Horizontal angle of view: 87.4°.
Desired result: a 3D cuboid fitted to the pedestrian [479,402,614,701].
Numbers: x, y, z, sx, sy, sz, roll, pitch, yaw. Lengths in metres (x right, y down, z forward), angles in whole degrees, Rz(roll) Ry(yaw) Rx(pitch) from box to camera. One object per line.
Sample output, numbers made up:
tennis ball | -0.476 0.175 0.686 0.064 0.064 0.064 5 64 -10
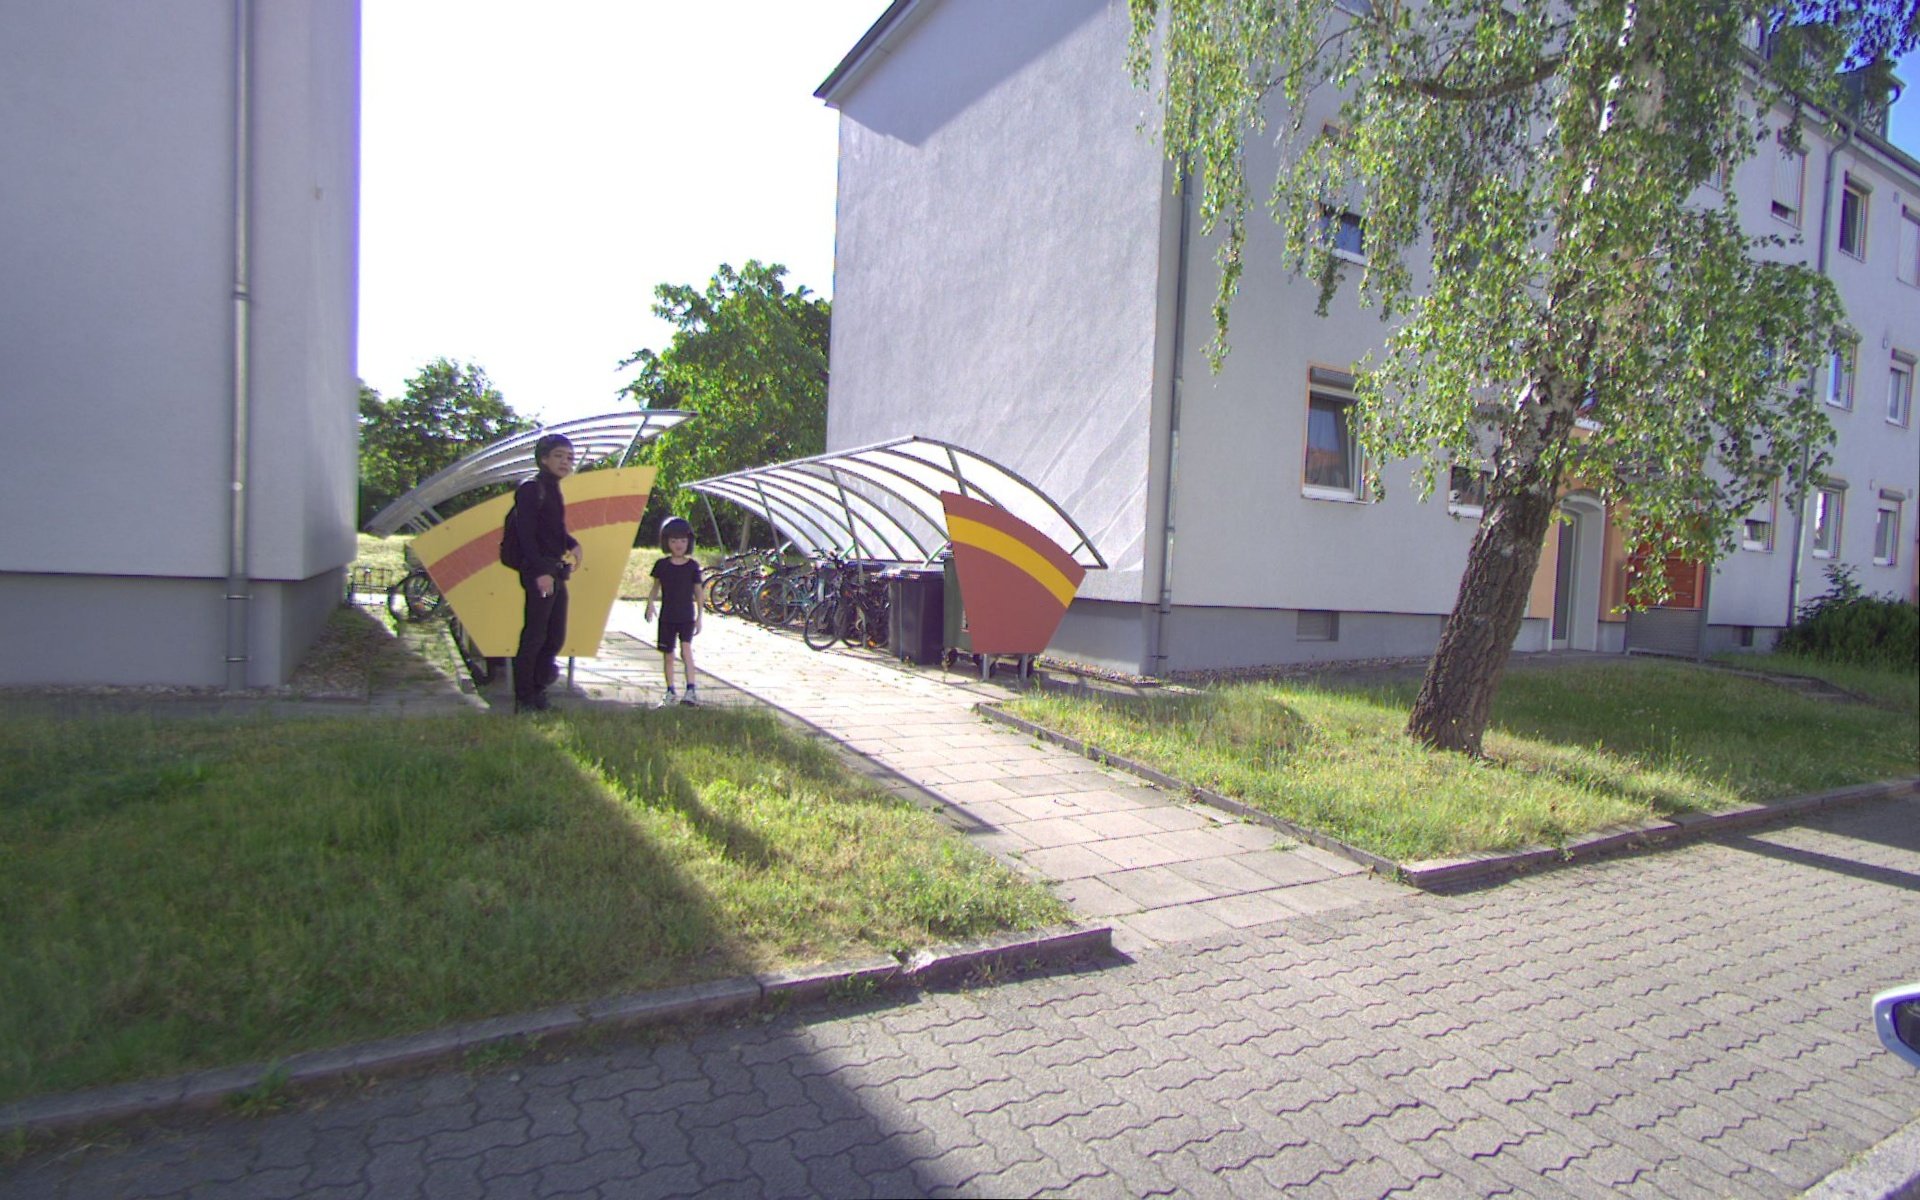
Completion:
pedestrian | -2.790 -0.304 6.736 0.709 1.848 0.802 2 2 -29

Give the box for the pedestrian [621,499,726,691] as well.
pedestrian | -2.121 -0.040 7.392 0.568 1.335 0.683 2 2 -29

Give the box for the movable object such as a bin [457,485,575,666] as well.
movable object such as a bin | -3.806 -0.215 8.569 0.803 1.425 1.079 1 3 -29

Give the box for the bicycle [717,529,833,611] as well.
bicycle | -2.975 -0.467 16.212 1.768 1.252 0.466 1 1 -31

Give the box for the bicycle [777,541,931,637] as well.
bicycle | -1.317 -0.128 12.628 1.828 1.132 0.529 1 4 -31

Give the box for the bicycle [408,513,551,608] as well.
bicycle | -6.531 -0.518 13.681 1.715 1.207 0.452 1 1 -31

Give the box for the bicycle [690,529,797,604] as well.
bicycle | -3.802 -0.573 17.700 1.750 1.235 0.499 1 1 -31

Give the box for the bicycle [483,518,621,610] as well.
bicycle | -5.517 -0.468 13.618 1.665 1.160 0.459 1 1 -31

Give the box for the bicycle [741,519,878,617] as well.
bicycle | -2.316 -0.470 15.570 1.990 1.416 0.614 1 1 -31

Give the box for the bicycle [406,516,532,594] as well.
bicycle | -7.586 -0.677 15.549 1.701 1.119 0.524 1 2 -31

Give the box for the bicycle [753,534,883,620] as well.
bicycle | -2.035 -0.313 14.533 1.814 1.169 0.427 1 1 -31

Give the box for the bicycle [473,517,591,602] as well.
bicycle | -6.162 -0.563 14.478 1.509 1.142 0.403 1 1 -31

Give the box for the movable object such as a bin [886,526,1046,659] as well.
movable object such as a bin | 0.042 -0.106 11.256 1.213 1.354 1.381 1 4 -30

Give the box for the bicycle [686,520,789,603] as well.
bicycle | -4.012 -0.678 18.197 1.738 1.416 0.463 1 1 -31

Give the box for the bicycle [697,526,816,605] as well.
bicycle | -3.468 -0.571 17.213 1.922 1.252 0.524 1 1 -31
